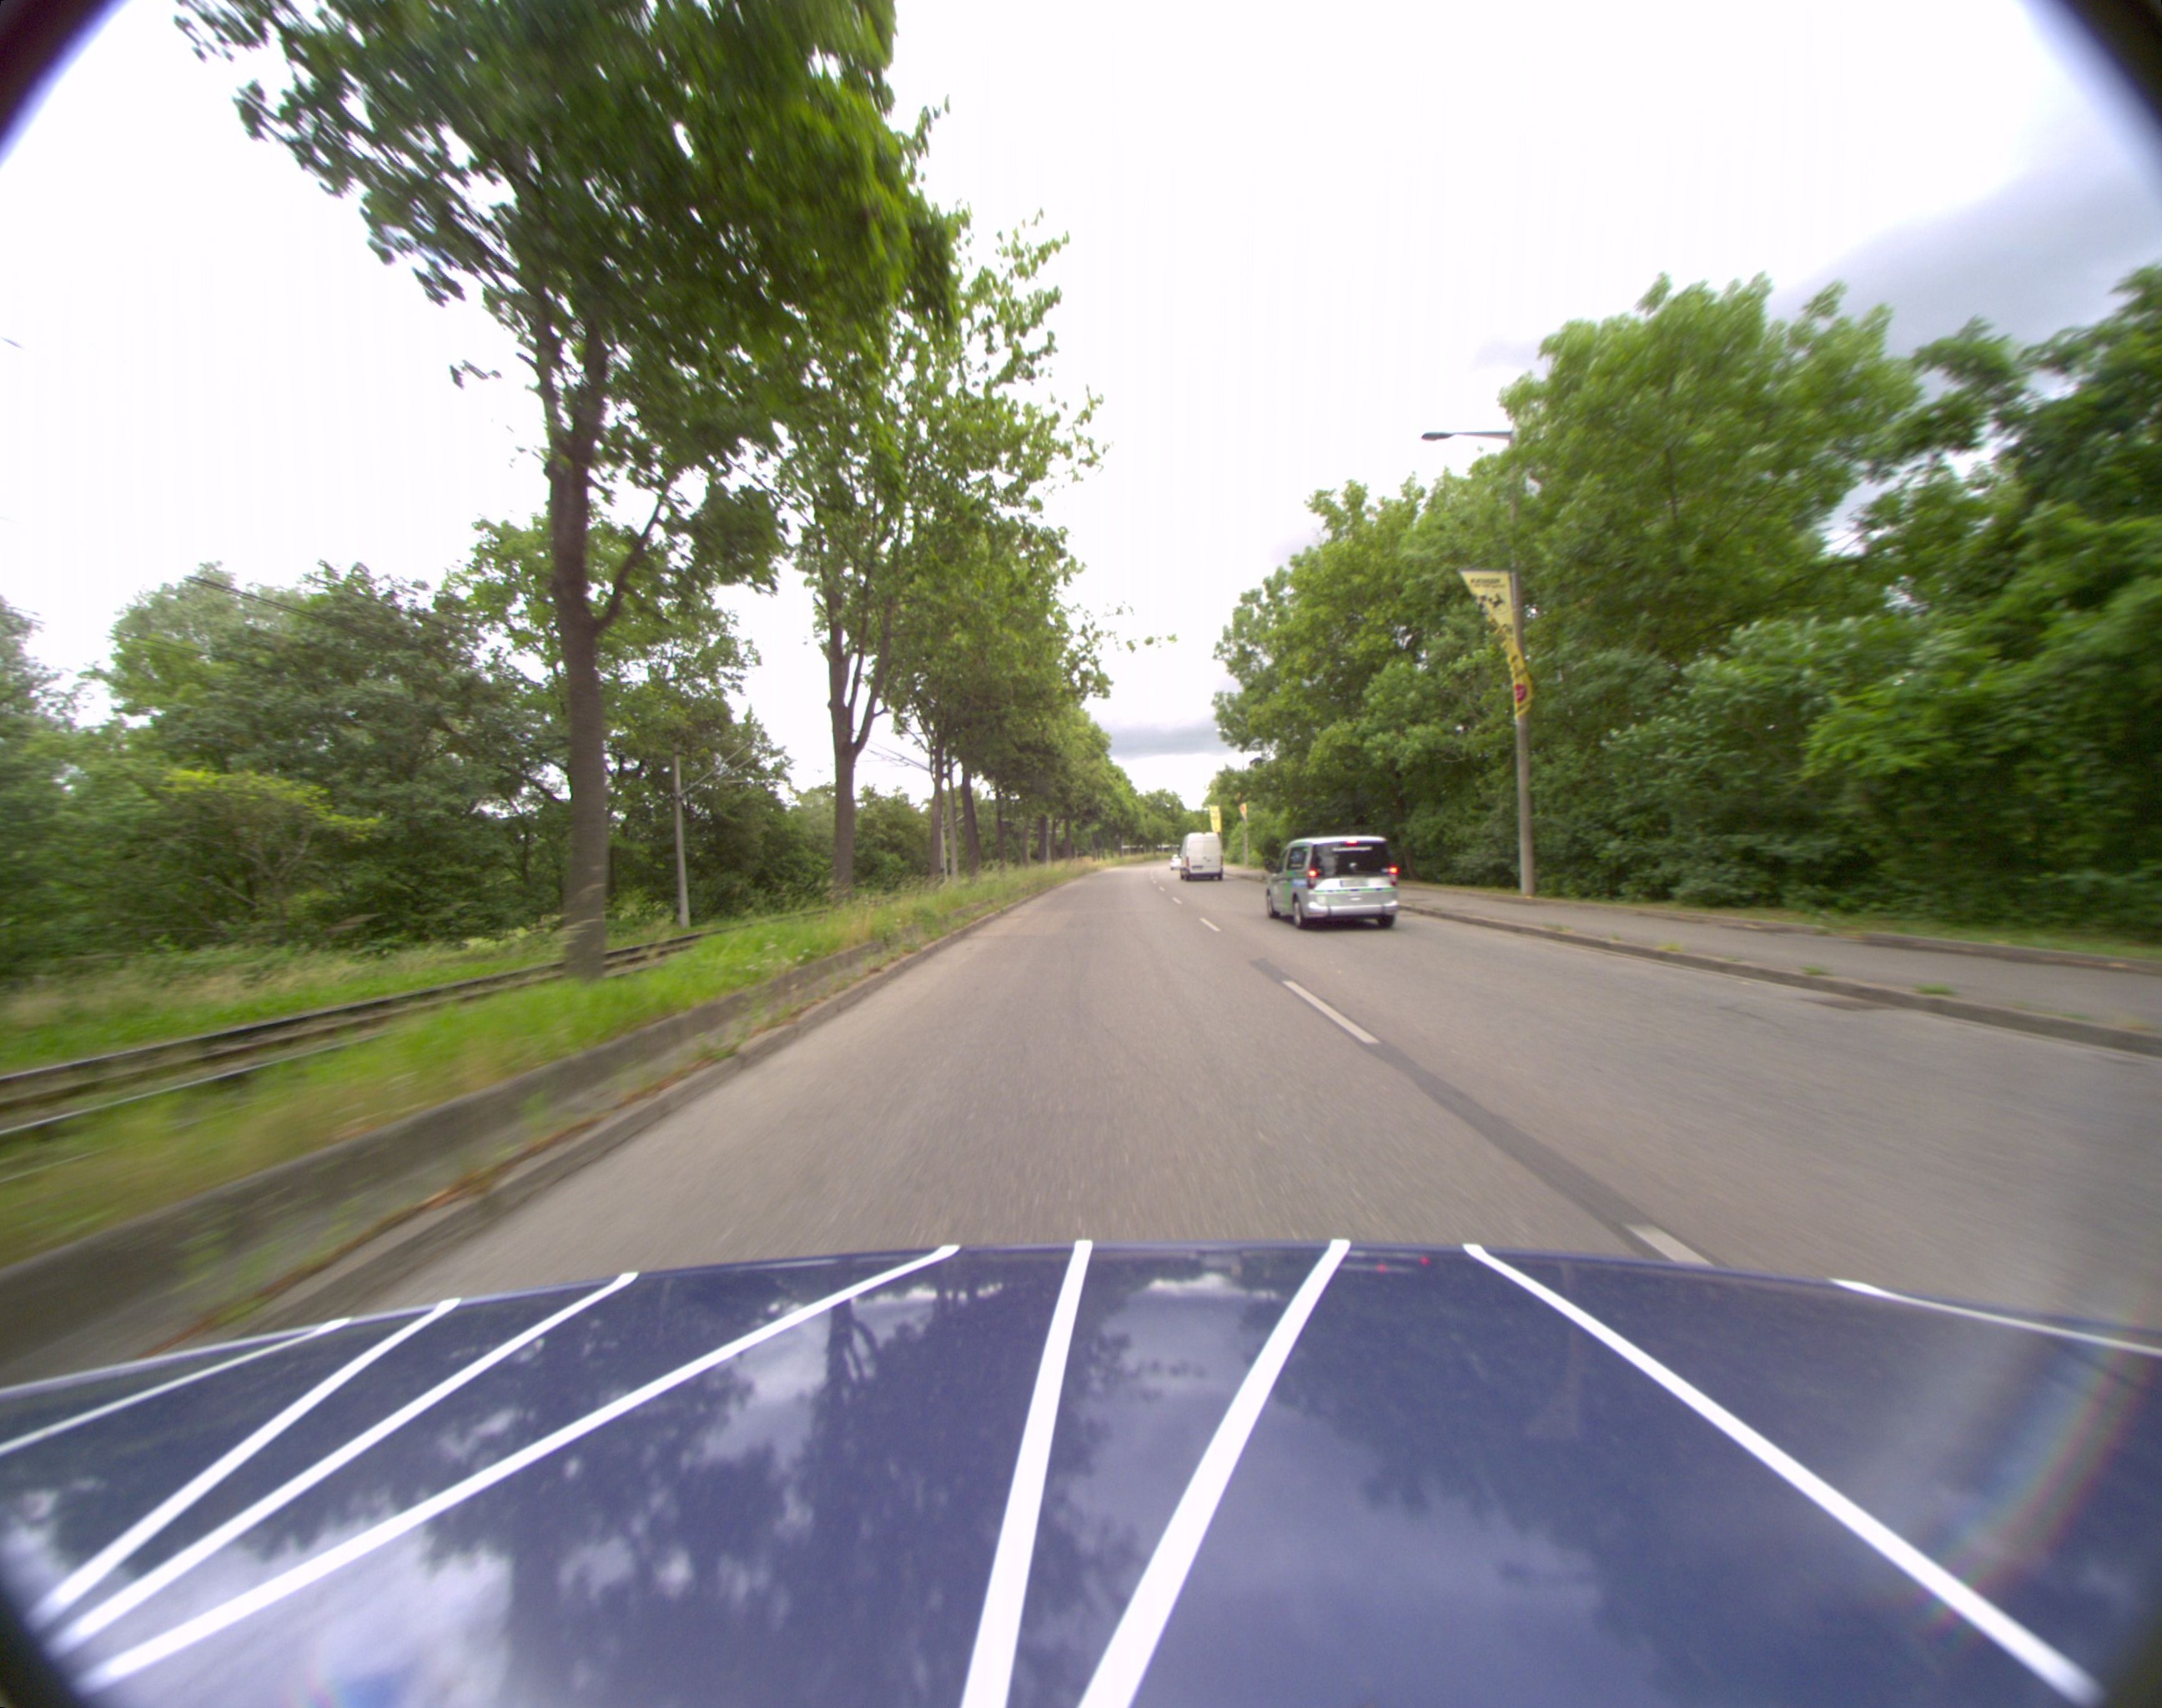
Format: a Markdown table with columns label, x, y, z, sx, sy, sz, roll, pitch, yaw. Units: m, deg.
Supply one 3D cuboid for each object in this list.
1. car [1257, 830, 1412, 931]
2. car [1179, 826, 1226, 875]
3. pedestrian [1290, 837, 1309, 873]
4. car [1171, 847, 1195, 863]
| label | x | y | z | sx | sy | sz | roll | pitch | yaw |
| --- | --- | --- | --- | --- | --- | --- | --- | --- | --- |
| car | 5.121 | 0.494 | 16.047 | 1.861 | 1.788 | 4.557 | -1 | 0 | 2 |
| car | 6.903 | -0.197 | 43.639 | 1.998 | 2.611 | 5.896 | -1 | 0 | 3 |
| pedestrian | 10.901 | 0.042 | 37.896 | 0.601 | 1.704 | 0.814 | -4 | 0 | 2 |
| car | 9.878 | 0.097 | 73.369 | 1.726 | 1.420 | 4.004 | -2 | 1 | 16 |
